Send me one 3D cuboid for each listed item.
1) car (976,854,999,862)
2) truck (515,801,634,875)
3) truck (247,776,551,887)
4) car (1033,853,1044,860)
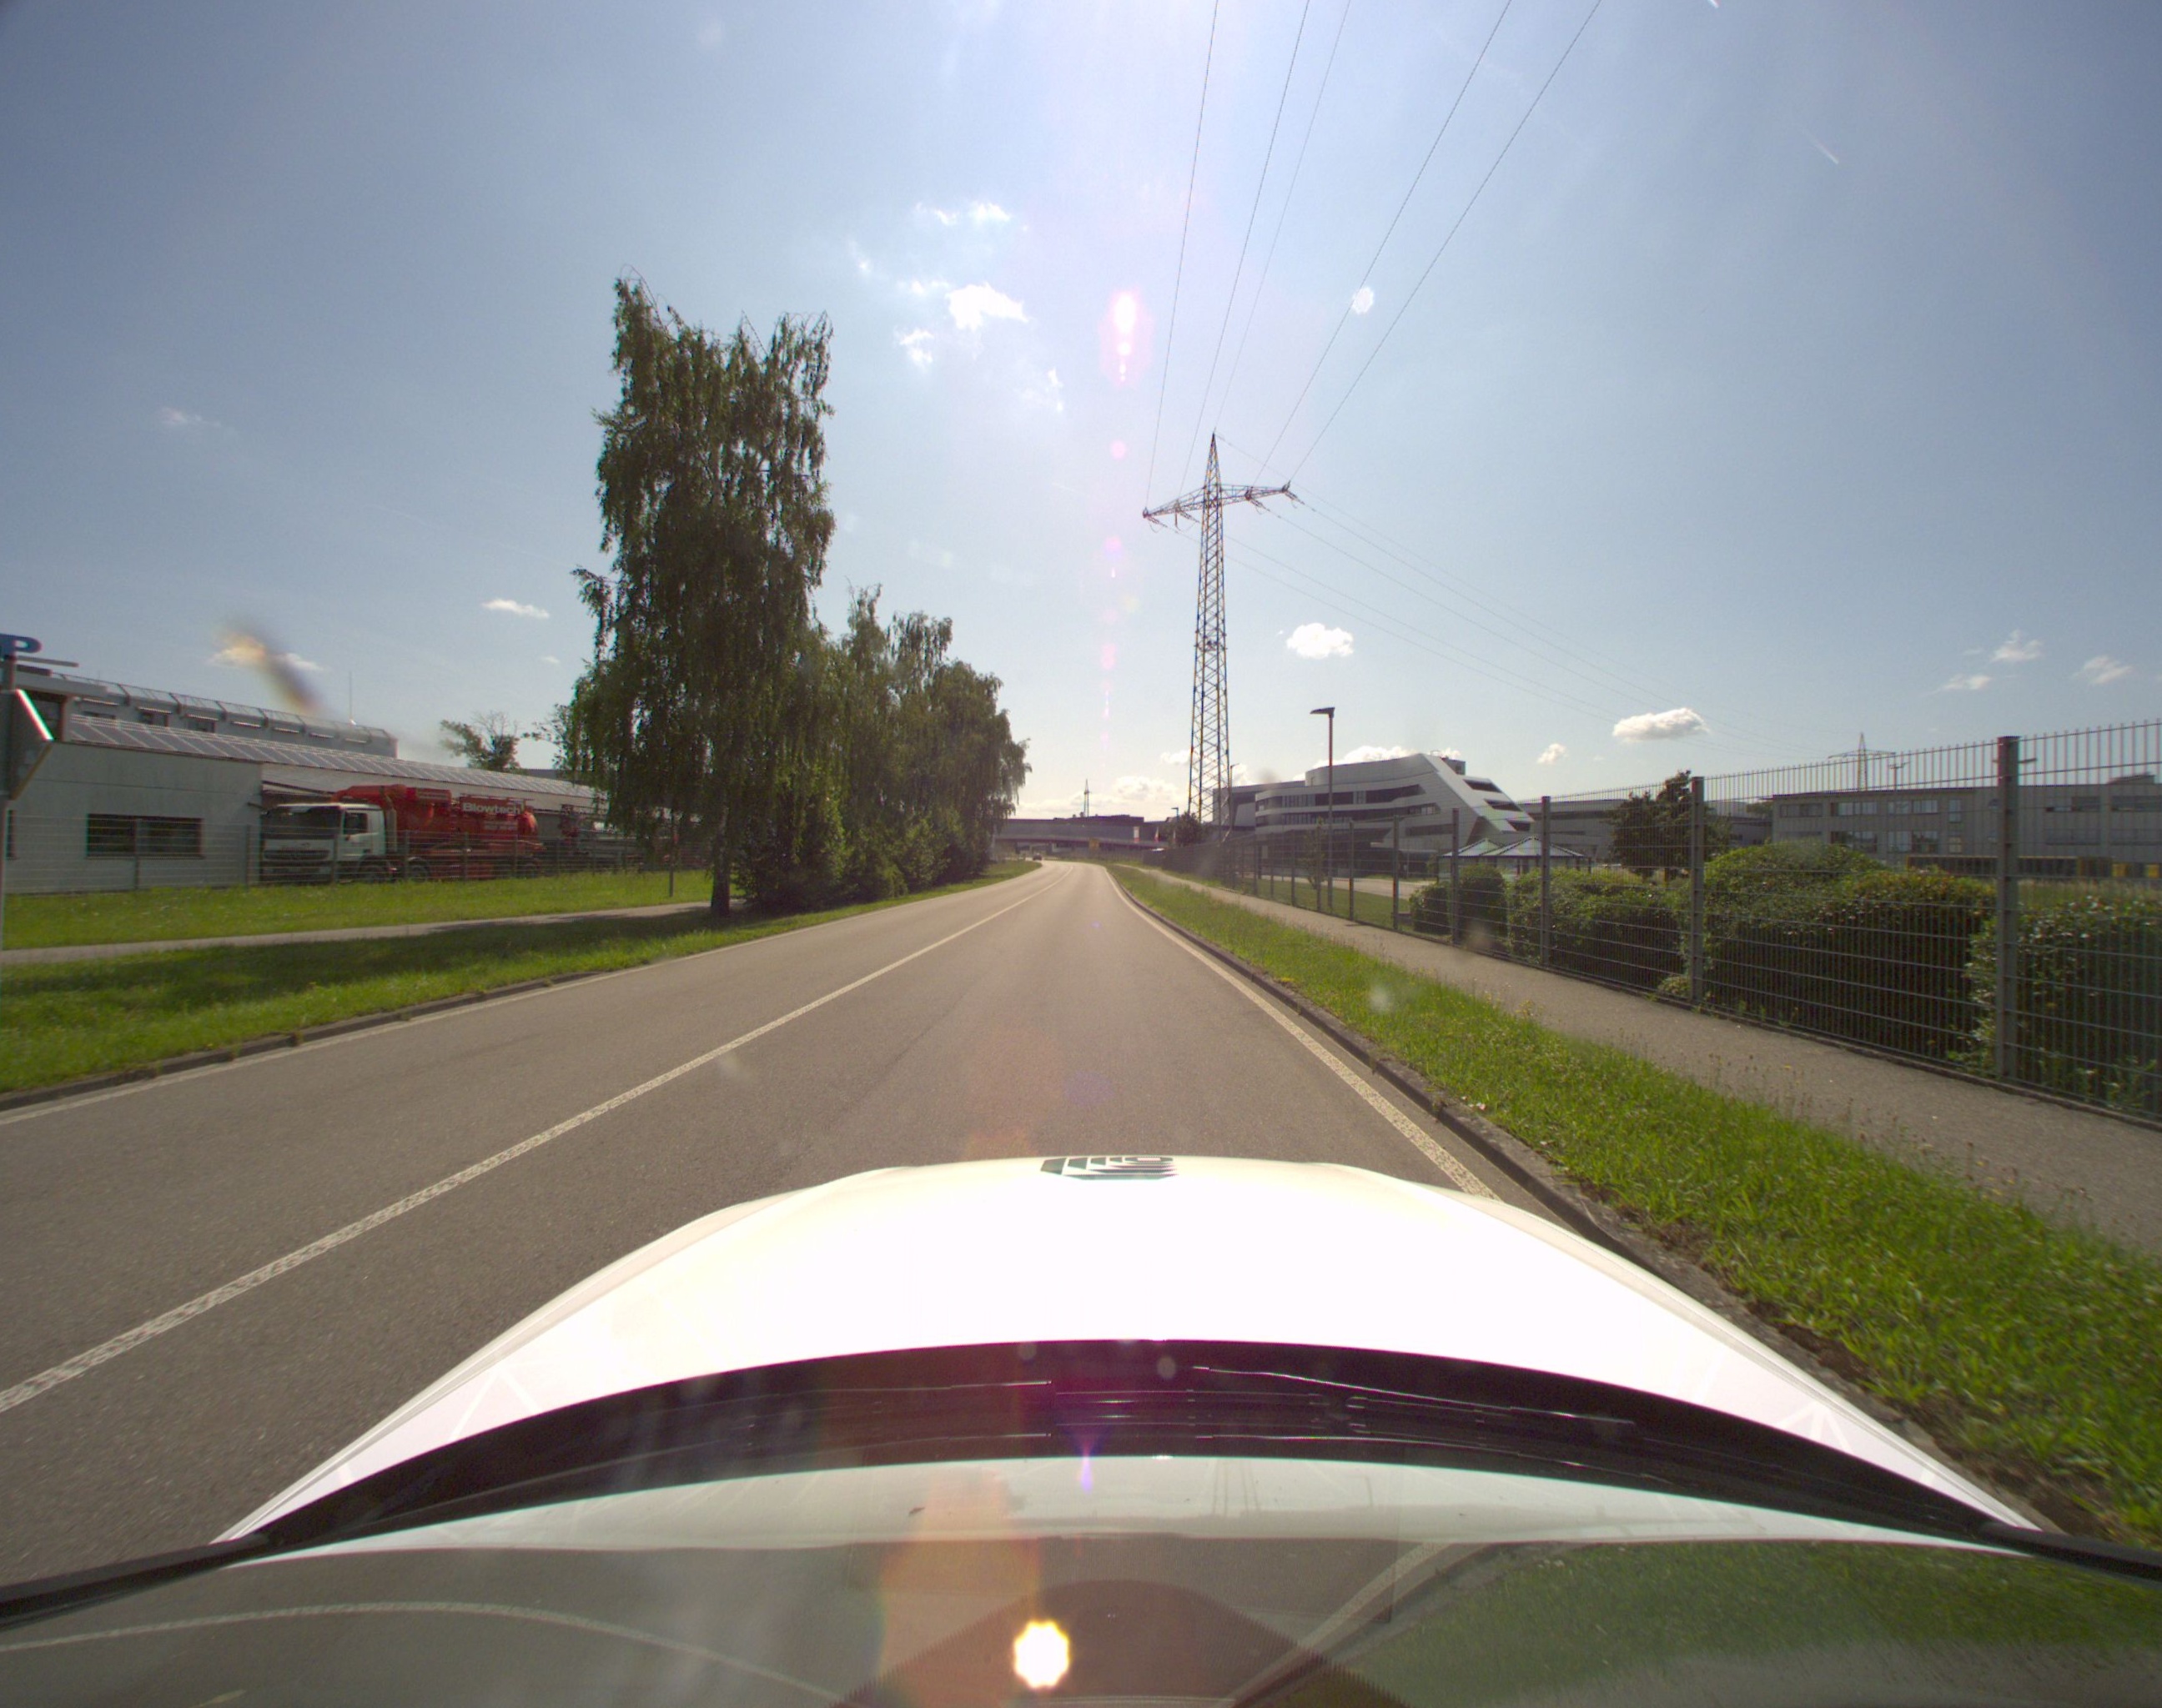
[{"bbox_3d":[-16.801,0.711,145.663,3.712,1.290,1.691,1,0,-30],"label":"car"},{"bbox_3d":[-25.617,-0.767,41.503,2.425,3.452,5.445,1,0,2],"label":"truck"},{"bbox_3d":[-25.413,-0.746,31.503,2.742,3.558,10.273,1,0,2],"label":"truck"},{"bbox_3d":[-9.494,0.579,182.097,2.010,1.508,3.990,1,0,-7],"label":"car"}]
